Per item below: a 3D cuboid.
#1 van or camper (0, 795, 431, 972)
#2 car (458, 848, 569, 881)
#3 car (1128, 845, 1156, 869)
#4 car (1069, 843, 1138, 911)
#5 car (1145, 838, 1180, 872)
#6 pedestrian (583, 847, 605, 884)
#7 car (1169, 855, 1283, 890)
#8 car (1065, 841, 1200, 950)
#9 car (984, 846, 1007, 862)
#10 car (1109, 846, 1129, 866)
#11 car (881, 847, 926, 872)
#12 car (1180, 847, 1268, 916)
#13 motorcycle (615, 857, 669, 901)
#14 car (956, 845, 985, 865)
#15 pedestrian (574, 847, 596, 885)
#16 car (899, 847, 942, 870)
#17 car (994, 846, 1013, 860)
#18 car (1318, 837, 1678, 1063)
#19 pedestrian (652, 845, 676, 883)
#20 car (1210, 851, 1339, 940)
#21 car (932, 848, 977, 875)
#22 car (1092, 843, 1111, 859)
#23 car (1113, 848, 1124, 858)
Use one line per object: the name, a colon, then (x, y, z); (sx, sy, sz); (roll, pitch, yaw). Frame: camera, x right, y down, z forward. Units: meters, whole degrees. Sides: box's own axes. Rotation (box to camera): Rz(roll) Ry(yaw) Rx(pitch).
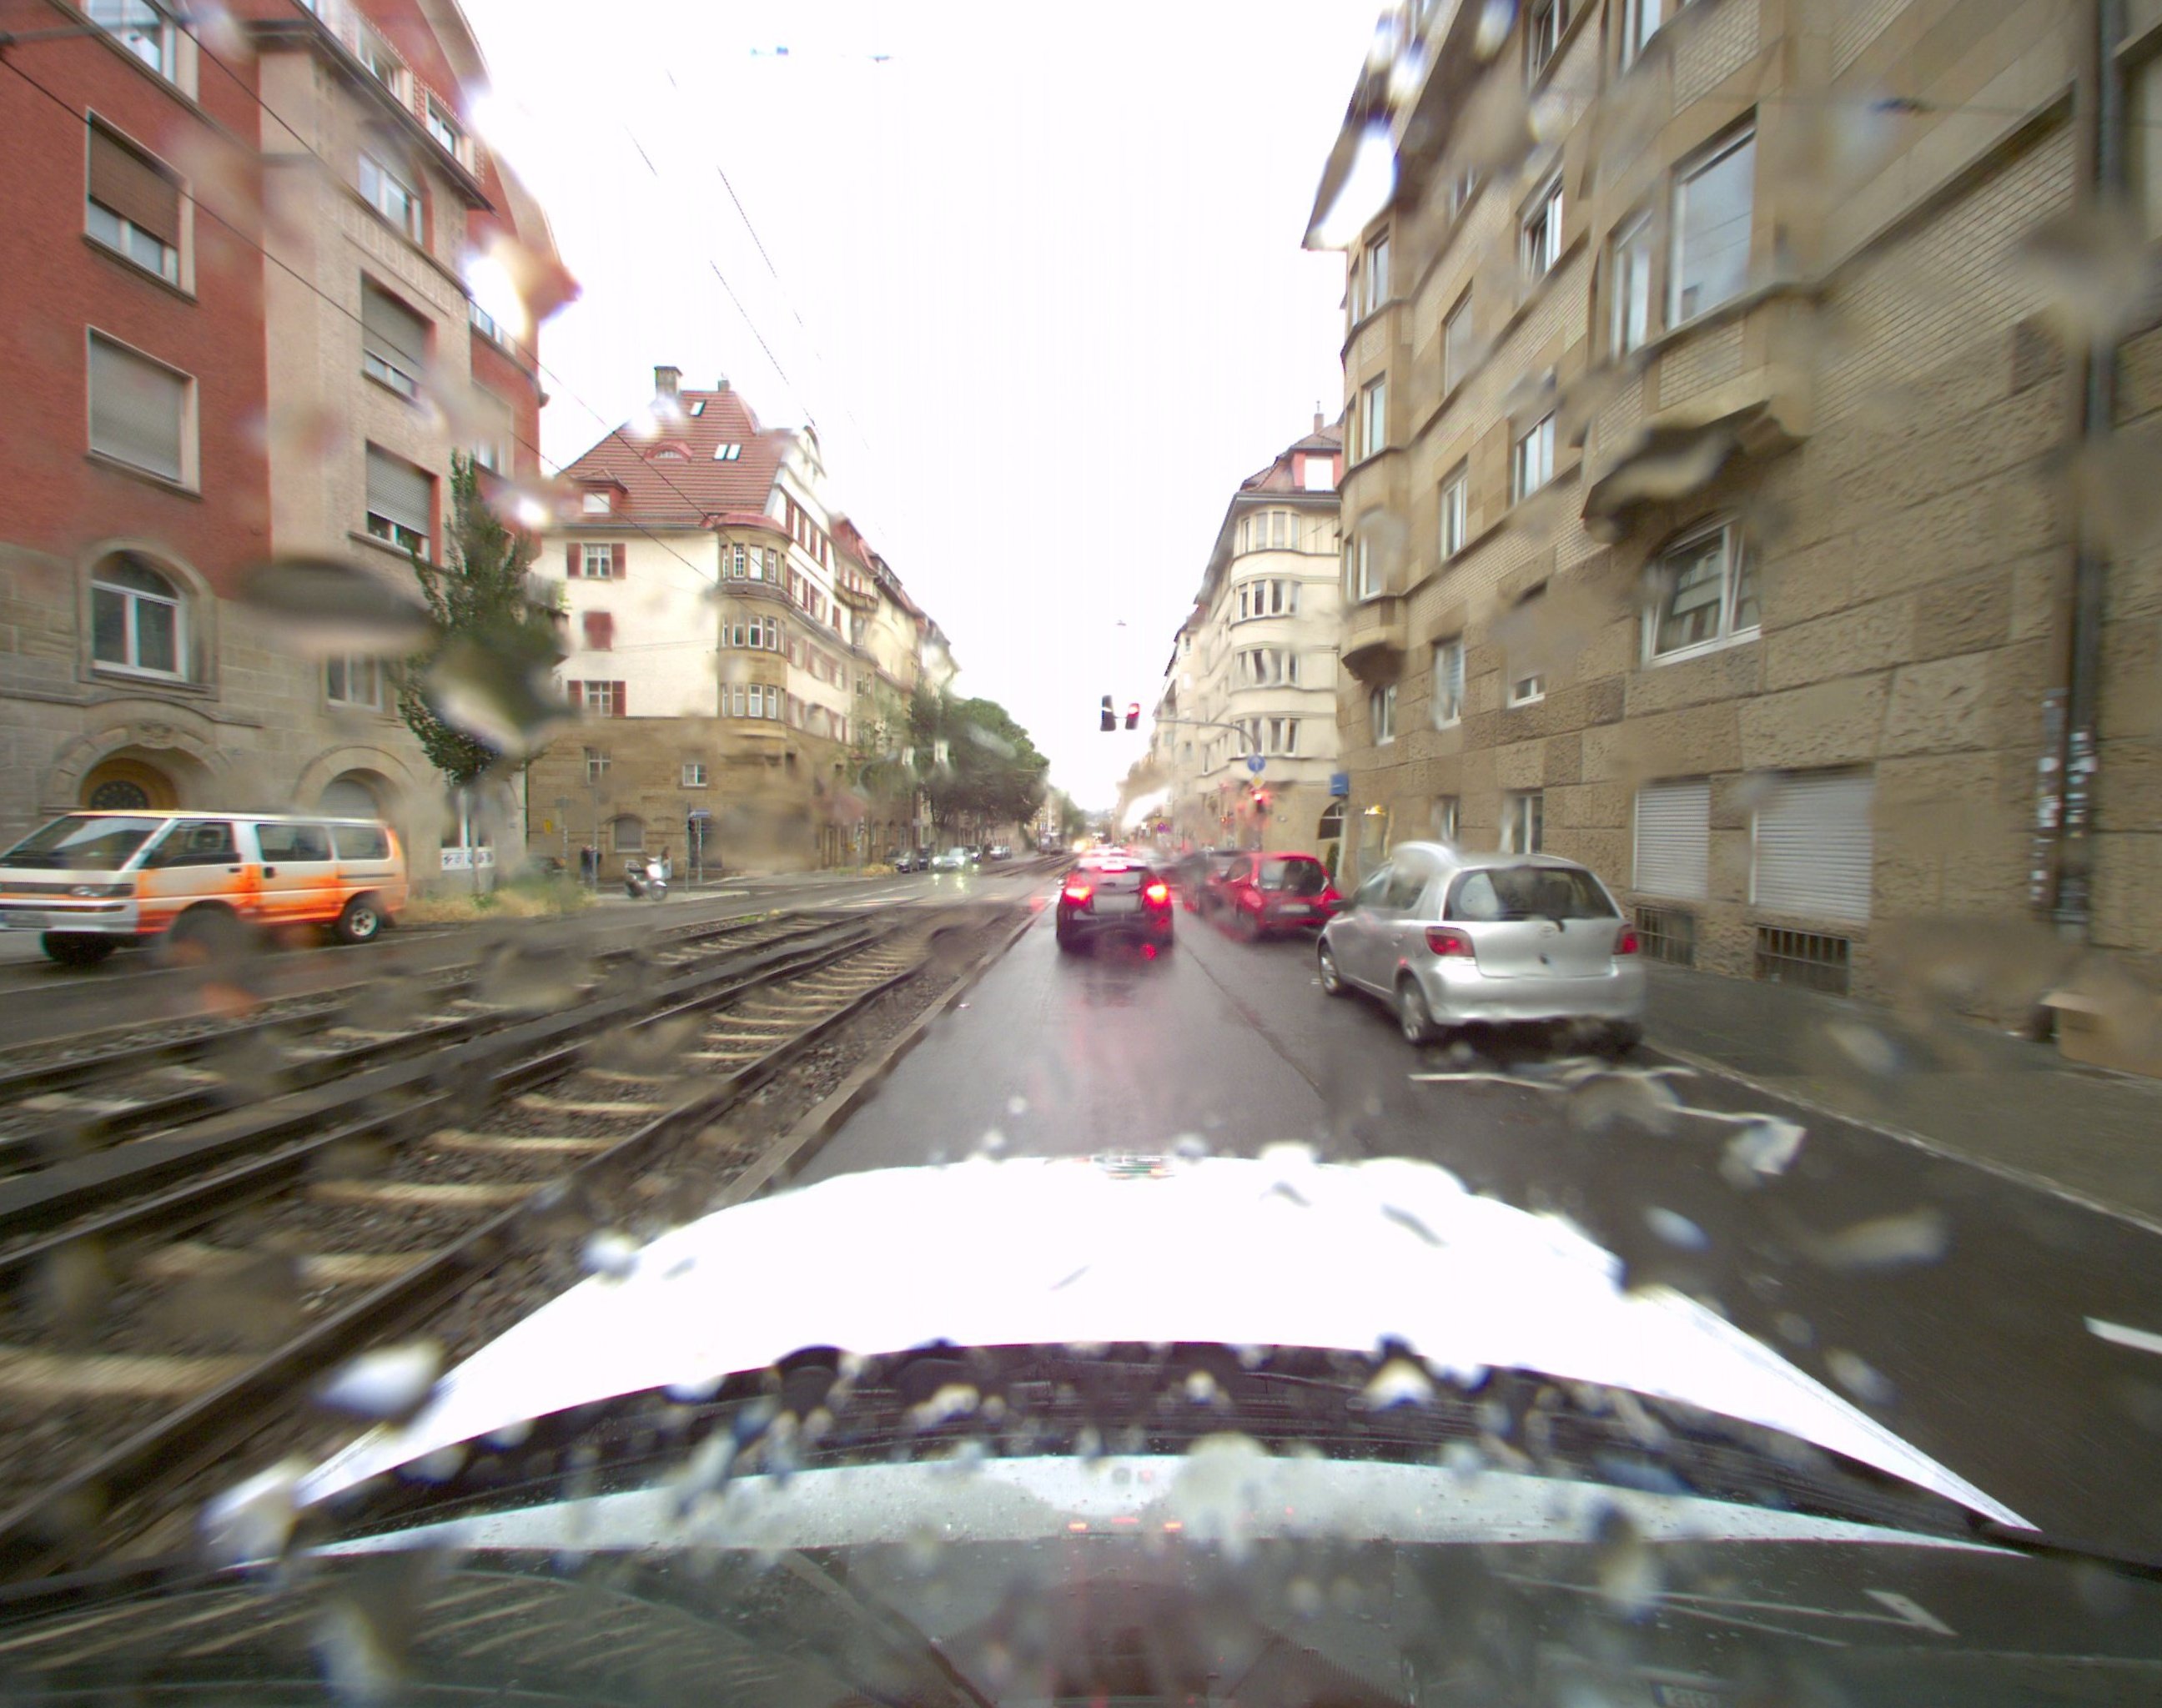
van or camper: (-12.056, 0.306, 11.422); (1.987, 1.901, 4.698); (4, 0, 0)
car: (-24.132, 0.446, 34.691); (3.609, 1.311, 1.561); (1, 0, 0)
car: (4.742, 0.272, 63.701); (1.764, 1.776, 3.996); (0, -1, -2)
car: (0.578, 0.509, 20.370); (1.530, 1.510, 4.002); (1, 0, 2)
car: (5.072, 0.112, 51.229); (1.891, 2.028, 4.177); (0, -1, 2)
pedestrian: (-22.920, 0.544, 38.309); (0.605, 1.733, 0.643); (1, 0, 2)
car: (5.745, 0.706, 32.629); (4.250, 1.288, 2.001); (1, 0, 1)
car: (0.754, 0.610, 13.591); (1.939, 1.564, 3.642); (0, -1, 0)
car: (-9.814, -0.052, 93.775); (1.986, 1.794, 4.002); (1, 0, 2)
car: (3.495, 0.219, 75.211); (1.846, 1.797, 3.813); (0, -1, 2)
car: (-10.905, 0.328, 50.249); (1.765, 1.464, 4.002); (0, 0, 2)
car: (3.400, 0.600, 19.961); (1.543, 1.508, 4.002); (1, 0, 2)
motorcycle: (-11.856, 0.651, 21.990); (1.423, 1.134, 0.624); (1, 0, 31)
car: (-10.302, 0.047, 76.308); (1.986, 1.794, 4.002); (1, 0, 2)
pedestrian: (-22.892, 0.539, 37.584); (0.605, 1.733, 0.643); (1, 0, 2)
car: (-10.907, 0.264, 55.574); (1.986, 1.517, 4.002); (0, 0, 2)
car: (-9.675, -0.109, 101.840); (1.925, 1.728, 4.188); (1, 0, 2)
car: (3.383, 0.652, 7.369); (1.631, 1.543, 3.468); (1, 0, 3)
pedestrian: (-18.949, 0.455, 37.050); (0.605, 1.733, 0.865); (1, 0, 2)
car: (3.368, 0.664, 14.685); (1.597, 1.419, 3.148); (0, 0, 0)
car: (-7.940, 0.448, 51.479); (1.786, 1.548, 4.007); (-2, 0, 6)
car: (2.264, -0.360, 89.950); (1.915, 1.655, 3.999); (1, 0, 0)
car: (6.434, -0.111, 140.696); (1.902, 1.706, 4.002); (0, 0, 2)
